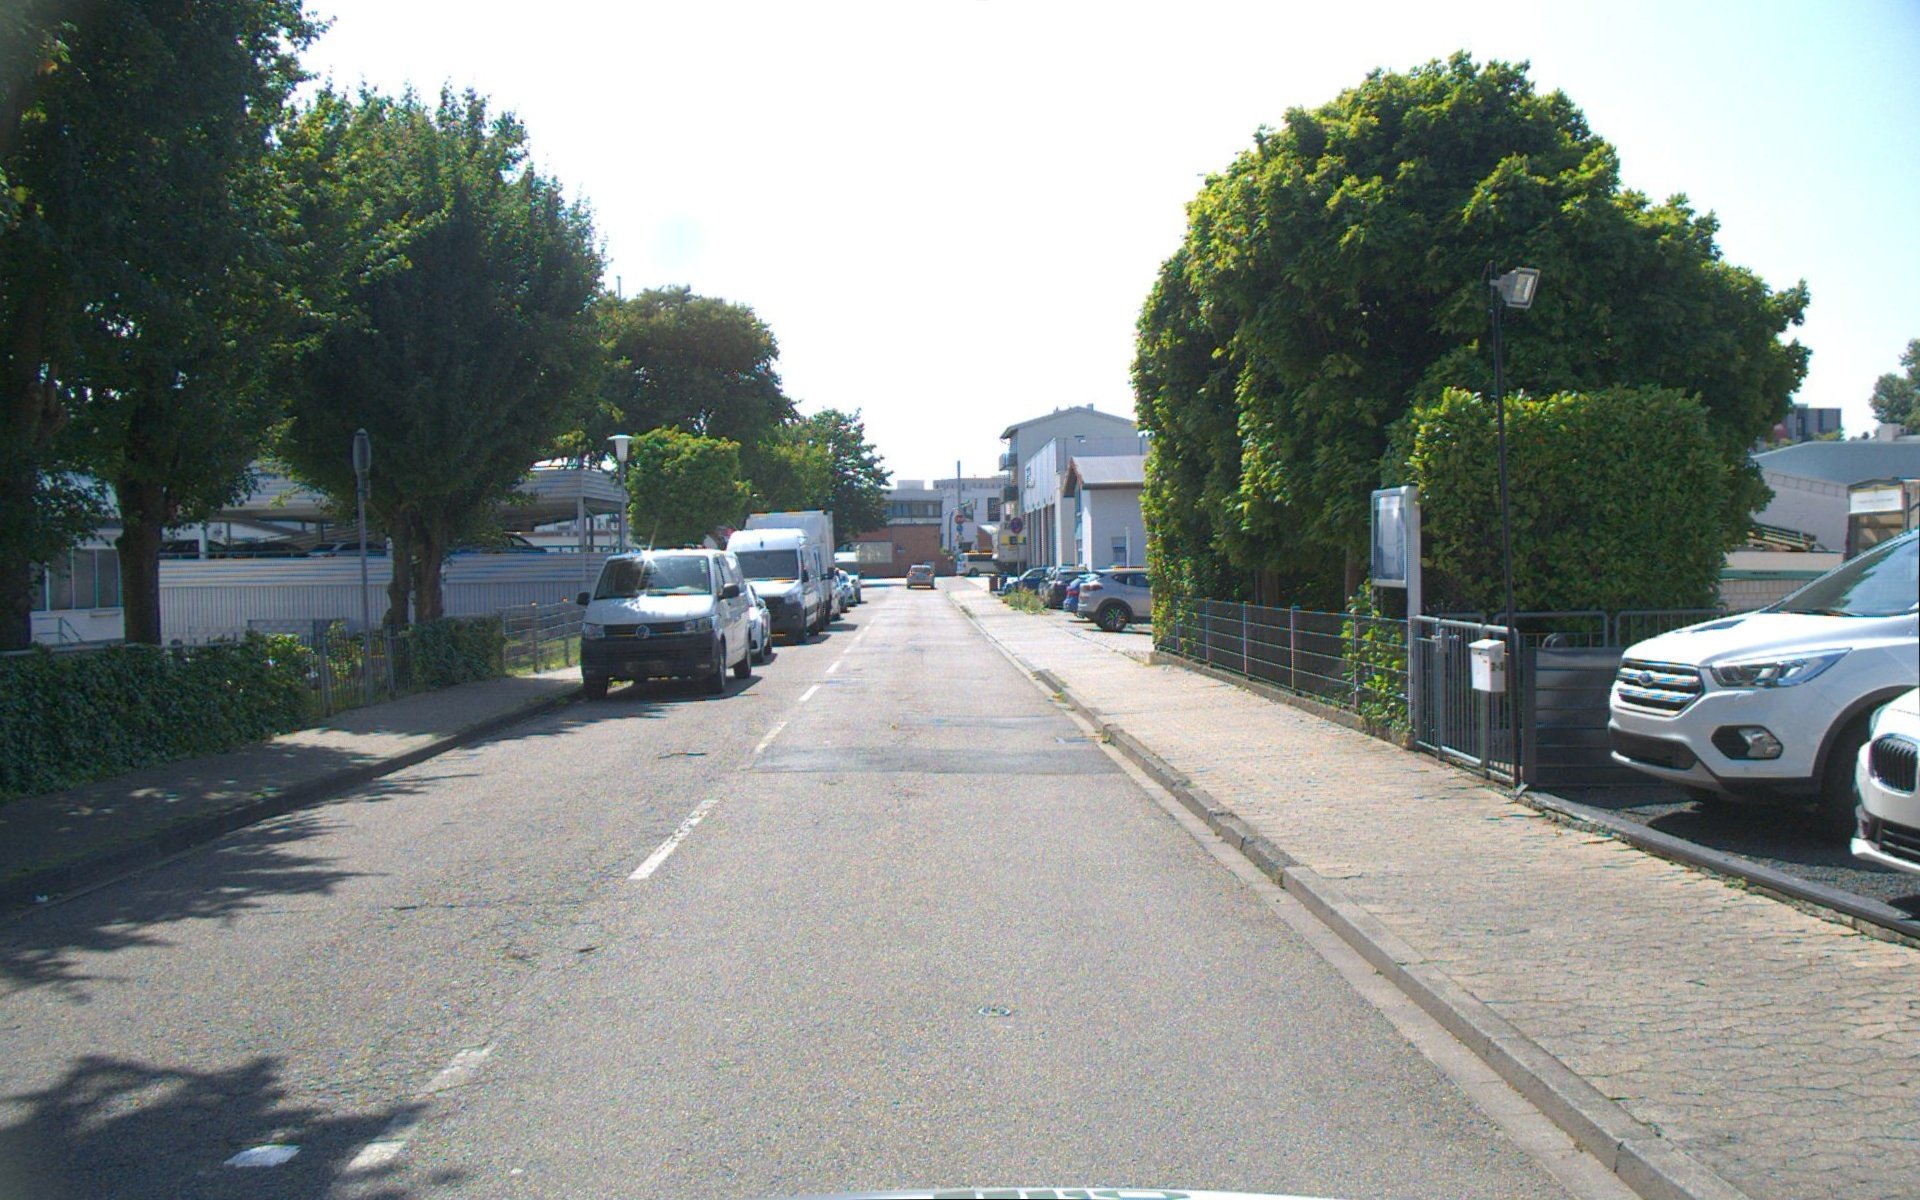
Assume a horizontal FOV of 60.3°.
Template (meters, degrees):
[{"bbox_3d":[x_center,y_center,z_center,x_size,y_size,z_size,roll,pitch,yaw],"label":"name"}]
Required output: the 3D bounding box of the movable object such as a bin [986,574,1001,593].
[{"bbox_3d":[1.797,-0.883,88.272,0.557,0.962,0.556,-1,2,32],"label":"movable object such as a bin"}]

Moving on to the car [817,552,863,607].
[{"bbox_3d":[-5.676,-0.999,78.695,1.966,2.407,5.226,-4,1,-3],"label":"car"}]

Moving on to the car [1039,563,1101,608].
[{"bbox_3d":[4.180,-0.585,63.304,1.821,1.595,4.950,-2,1,-2],"label":"car"}]

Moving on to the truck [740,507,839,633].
[{"bbox_3d":[-5.024,-0.857,49.735,2.632,3.425,7.124,-2,0,-4],"label":"truck"}]

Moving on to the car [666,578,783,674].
[{"bbox_3d":[-4.340,0.438,31.020,1.680,1.570,4.398,-3,1,-3],"label":"car"}]

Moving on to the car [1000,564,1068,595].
[{"bbox_3d":[3.582,-1.000,80.724,3.187,1.423,1.673,-2,1,-1],"label":"car"}]

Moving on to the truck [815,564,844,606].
[{"bbox_3d":[-5.498,-0.648,69.916,1.116,1.650,3.139,-3,1,-4],"label":"truck"}]

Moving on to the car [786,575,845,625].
[{"bbox_3d":[-4.894,-0.027,56.415,1.706,1.547,4.309,-2,1,-2],"label":"car"}]

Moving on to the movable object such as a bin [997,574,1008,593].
[{"bbox_3d":[2.270,-0.878,88.699,0.502,0.962,0.488,-2,1,10],"label":"movable object such as a bin"}]

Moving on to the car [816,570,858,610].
[{"bbox_3d":[-5.503,-0.481,73.530,1.672,1.652,3.968,-3,1,-6],"label":"car"}]

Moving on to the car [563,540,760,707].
[{"bbox_3d":[-4.146,0.272,23.849,1.932,2.048,5.055,-3,1,-1],"label":"car"}]

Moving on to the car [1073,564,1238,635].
[{"bbox_3d":[5.171,-0.026,44.089,4.117,1.711,1.766,2,1,-3],"label":"car"}]

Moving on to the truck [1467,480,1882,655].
[{"bbox_3d":[15.970,-0.722,37.424,8.105,3.674,2.954,-1,1,1],"label":"truck"}]

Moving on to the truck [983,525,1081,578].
[{"bbox_3d":[5.737,-3.870,131.968,7.222,3.708,2.763,-4,2,-8],"label":"truck"}]

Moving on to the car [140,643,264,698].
[{"bbox_3d":[-23.963,2.202,52.441,1.952,1.467,4.002,-1,1,2],"label":"car"}]

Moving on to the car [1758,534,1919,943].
[{"bbox_3d":[5.757,0.401,6.522,4.320,1.554,1.894,-3,0,-7],"label":"car"}]

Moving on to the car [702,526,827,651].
[{"bbox_3d":[-4.576,-0.278,39.825,2.124,2.641,6.919,-3,0,0],"label":"car"}]

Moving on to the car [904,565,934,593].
[{"bbox_3d":[-2.658,-1.376,106.980,1.852,1.714,3.956,2,0,-2],"label":"car"}]

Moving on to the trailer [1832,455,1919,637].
[{"bbox_3d":[24.460,-1.276,37.026,8.159,3.930,3.069,-1,0,4],"label":"trailer"}]

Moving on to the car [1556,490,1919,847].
[{"bbox_3d":[5.729,0.272,8.957,4.316,1.682,1.842,-1,1,-4],"label":"car"}]

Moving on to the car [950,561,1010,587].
[{"bbox_3d":[1.685,-2.195,140.098,4.587,1.992,1.904,-3,0,-21],"label":"car"}]

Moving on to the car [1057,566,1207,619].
[{"bbox_3d":[5.172,-0.241,50.146,4.265,1.466,1.891,-2,1,-2],"label":"car"}]
